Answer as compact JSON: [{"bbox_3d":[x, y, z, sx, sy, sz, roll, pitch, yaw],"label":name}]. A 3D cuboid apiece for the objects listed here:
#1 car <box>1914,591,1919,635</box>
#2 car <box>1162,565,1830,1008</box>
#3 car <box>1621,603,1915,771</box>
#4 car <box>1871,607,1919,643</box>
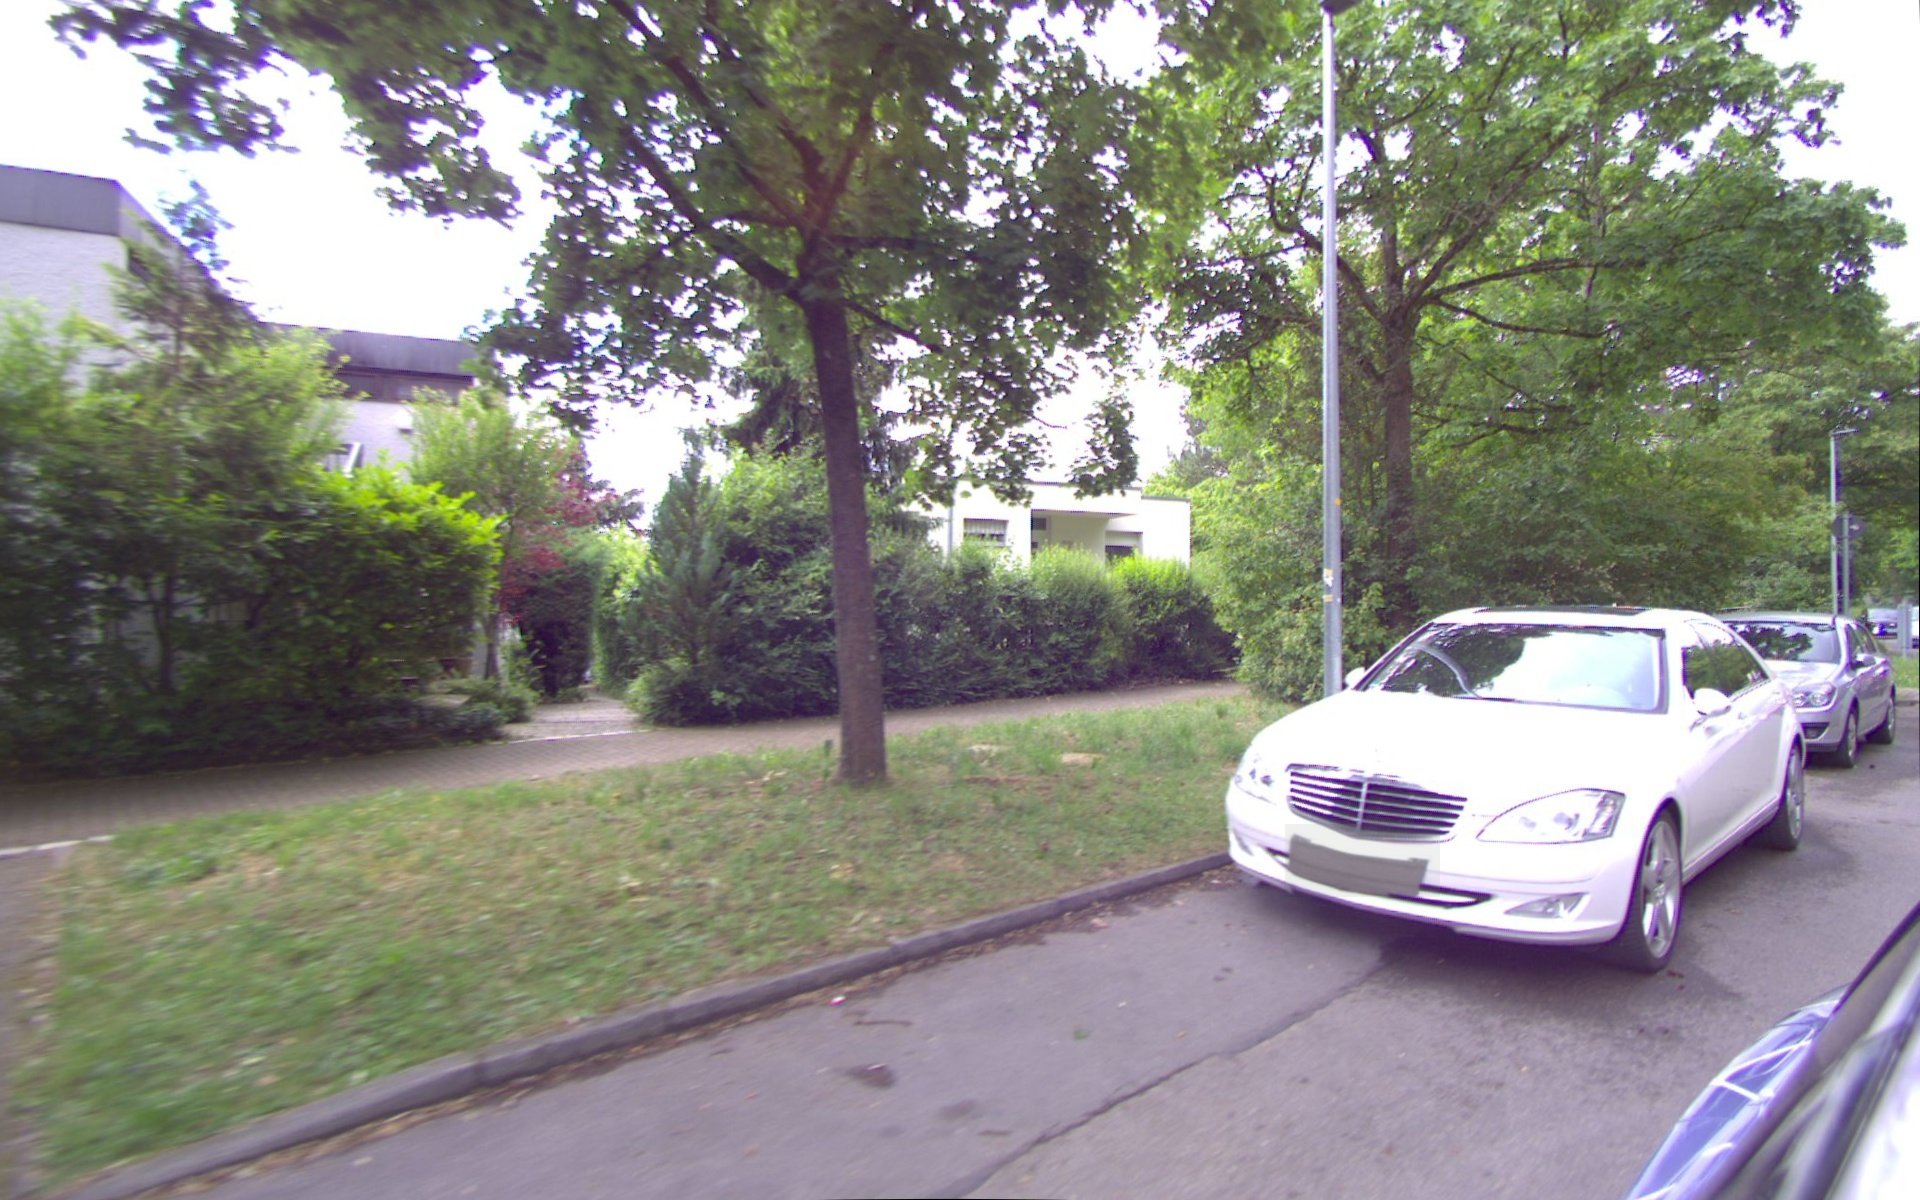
[{"bbox_3d":[38.061,0.499,38.670,1.990,1.716,3.944,-3,-1,39],"label":"car"},{"bbox_3d":[3.476,0.642,5.923,5.088,1.526,1.888,0,0,-43],"label":"car"},{"bbox_3d":[8.751,0.767,10.846,3.988,1.428,1.796,0,0,-41],"label":"car"},{"bbox_3d":[49.000,1.285,52.819,1.993,1.693,3.938,-3,-1,43],"label":"car"}]
